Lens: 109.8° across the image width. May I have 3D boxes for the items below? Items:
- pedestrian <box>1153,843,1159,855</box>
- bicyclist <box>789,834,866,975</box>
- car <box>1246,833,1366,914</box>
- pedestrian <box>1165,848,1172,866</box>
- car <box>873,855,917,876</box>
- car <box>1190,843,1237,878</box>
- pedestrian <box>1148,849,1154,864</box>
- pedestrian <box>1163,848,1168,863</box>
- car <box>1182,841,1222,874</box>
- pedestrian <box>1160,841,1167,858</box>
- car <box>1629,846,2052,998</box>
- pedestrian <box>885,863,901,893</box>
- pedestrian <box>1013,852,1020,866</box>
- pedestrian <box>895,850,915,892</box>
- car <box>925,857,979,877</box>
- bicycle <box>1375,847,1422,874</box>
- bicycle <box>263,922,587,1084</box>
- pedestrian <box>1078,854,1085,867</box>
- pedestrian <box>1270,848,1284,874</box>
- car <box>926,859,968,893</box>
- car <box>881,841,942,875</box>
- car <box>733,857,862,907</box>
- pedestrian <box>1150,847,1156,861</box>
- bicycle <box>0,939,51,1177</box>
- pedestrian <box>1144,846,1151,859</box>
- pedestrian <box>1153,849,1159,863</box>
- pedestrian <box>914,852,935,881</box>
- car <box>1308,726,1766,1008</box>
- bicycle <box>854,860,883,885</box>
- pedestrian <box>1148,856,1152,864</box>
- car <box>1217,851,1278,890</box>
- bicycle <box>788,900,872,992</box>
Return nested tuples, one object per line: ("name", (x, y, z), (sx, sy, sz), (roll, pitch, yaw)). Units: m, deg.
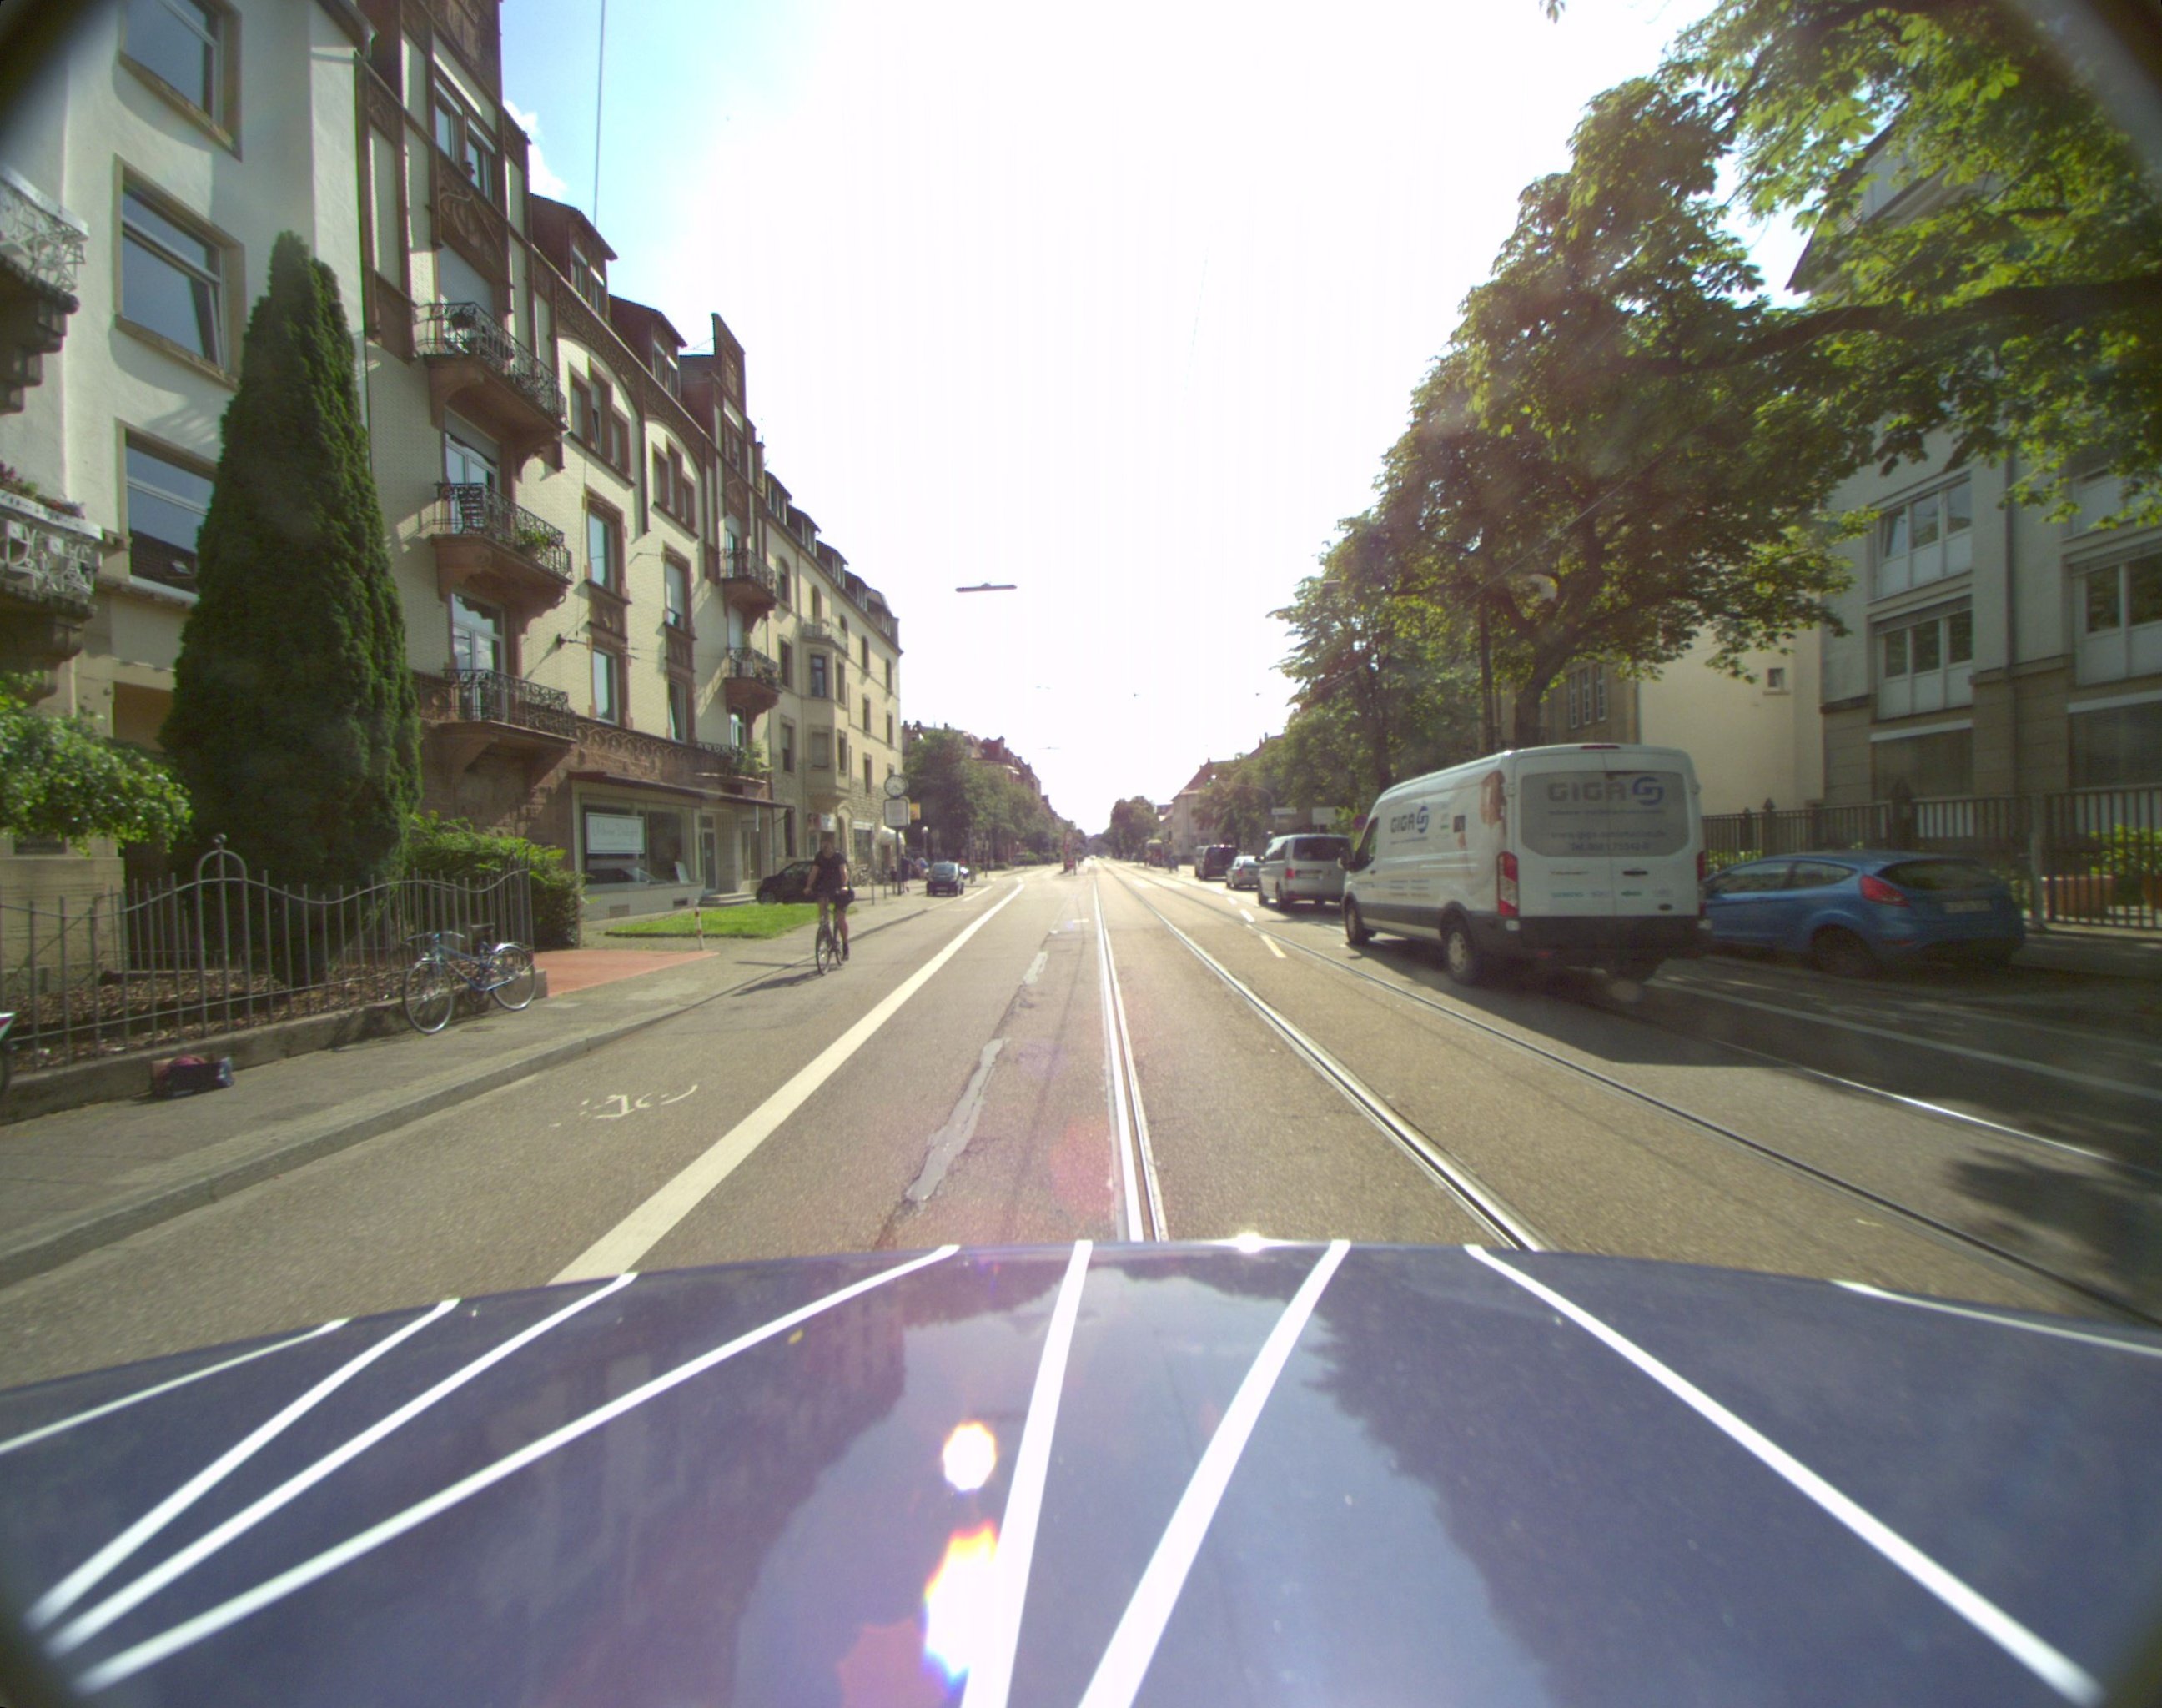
("pedestrian", (8.229, -0.581, 83.076), (0.605, 1.329, 0.406), (1, 2, -5))
("bicyclist", (-3.701, 0.692, 11.167), (0.608, 1.937, 1.130), (-4, 1, 1))
("car", (5.996, 0.467, 20.940), (1.991, 1.951, 5.180), (0, 0, 3))
("pedestrian", (7.700, 0.262, 66.716), (0.538, 1.533, 0.516), (-1, -1, 0))
("car", (-15.345, 0.994, 62.608), (1.731, 1.546, 4.102), (-5, 2, -41))
("car", (7.665, 0.306, 44.391), (1.932, 1.906, 5.123), (1, 1, 2))
("pedestrian", (7.780, 0.315, 84.415), (0.498, 1.660, 0.678), (1, 1, -5))
("pedestrian", (8.177, 0.124, 73.403), (0.429, 1.495, 0.703), (0, 1, 1))
("car", (8.210, 0.185, 52.067), (1.998, 1.984, 5.087), (-2, 2, 2))
("pedestrian", (8.536, -0.477, 79.043), (0.473, 1.647, 0.746), (6, 1, 0))
("car", (9.608, 0.711, 10.180), (1.553, 1.510, 4.084), (-4, 1, 0))
("pedestrian", (-8.466, 1.063, 34.249), (0.571, 1.318, 0.442), (3, 1, -7))
("pedestrian", (-8.001, 0.583, 94.191), (0.707, 1.645, 0.534), (-4, 1, 1))
("pedestrian", (-7.929, 0.751, 34.274), (0.661, 1.831, 0.873), (5, 0, -7))
("car", (-10.038, 1.019, 58.977), (3.989, 1.410, 1.896), (-1, 1, 36))
("bicycle", (12.485, 0.249, 29.930), (1.001, 0.927, 1.860), (-5, 0, 0))
("bicycle", (-6.093, 1.301, 7.437), (0.600, 0.955, 3.065), (2, 0, -2))
("pedestrian", (0.075, 0.748, 93.342), (0.702, 1.524, 0.557), (-4, 1, 1))
("pedestrian", (12.672, 0.440, 49.171), (0.521, 1.647, 0.751), (-4, 1, -13))
("car", (-6.240, 1.010, 35.615), (1.517, 1.490, 2.793), (1, 0, -1))
("car", (-14.862, 0.408, 66.203), (2.397, 2.777, 6.657), (-2, 0, -39))
("car", (-9.148, 0.870, 24.713), (3.409, 1.515, 1.972), (0, 1, 3))
("pedestrian", (8.218, 0.018, 86.773), (0.657, 1.632, 0.638), (1, 1, 0))
("bicycle", (-5.971, 1.101, 3.329), (0.452, 1.253, 1.843), (1, 0, -2))
("pedestrian", (8.031, -0.187, 91.691), (0.657, 1.598, 0.638), (1, 1, -5))
("pedestrian", (7.987, 0.210, 80.567), (0.530, 1.448, 0.692), (0, 1, -1))
("pedestrian", (-10.162, 0.812, 49.489), (1.013, 1.758, 0.850), (5, 0, 2))
("car", (5.082, 0.135, 10.072), (2.321, 2.493, 6.364), (-2, 0, 1))
("bicycle", (-11.179, 0.960, 40.080), (0.807, 1.171, 2.751), (-4, 1, -2))
("pedestrian", (7.690, 0.692, 84.579), (0.340, 0.925, 0.346), (1, 2, -6))
("car", (7.167, 0.671, 33.130), (1.697, 1.472, 4.481), (1, 1, 1))
("bicycle", (-3.655, 1.305, 11.211), (0.617, 1.039, 1.835), (2, 3, 1))
